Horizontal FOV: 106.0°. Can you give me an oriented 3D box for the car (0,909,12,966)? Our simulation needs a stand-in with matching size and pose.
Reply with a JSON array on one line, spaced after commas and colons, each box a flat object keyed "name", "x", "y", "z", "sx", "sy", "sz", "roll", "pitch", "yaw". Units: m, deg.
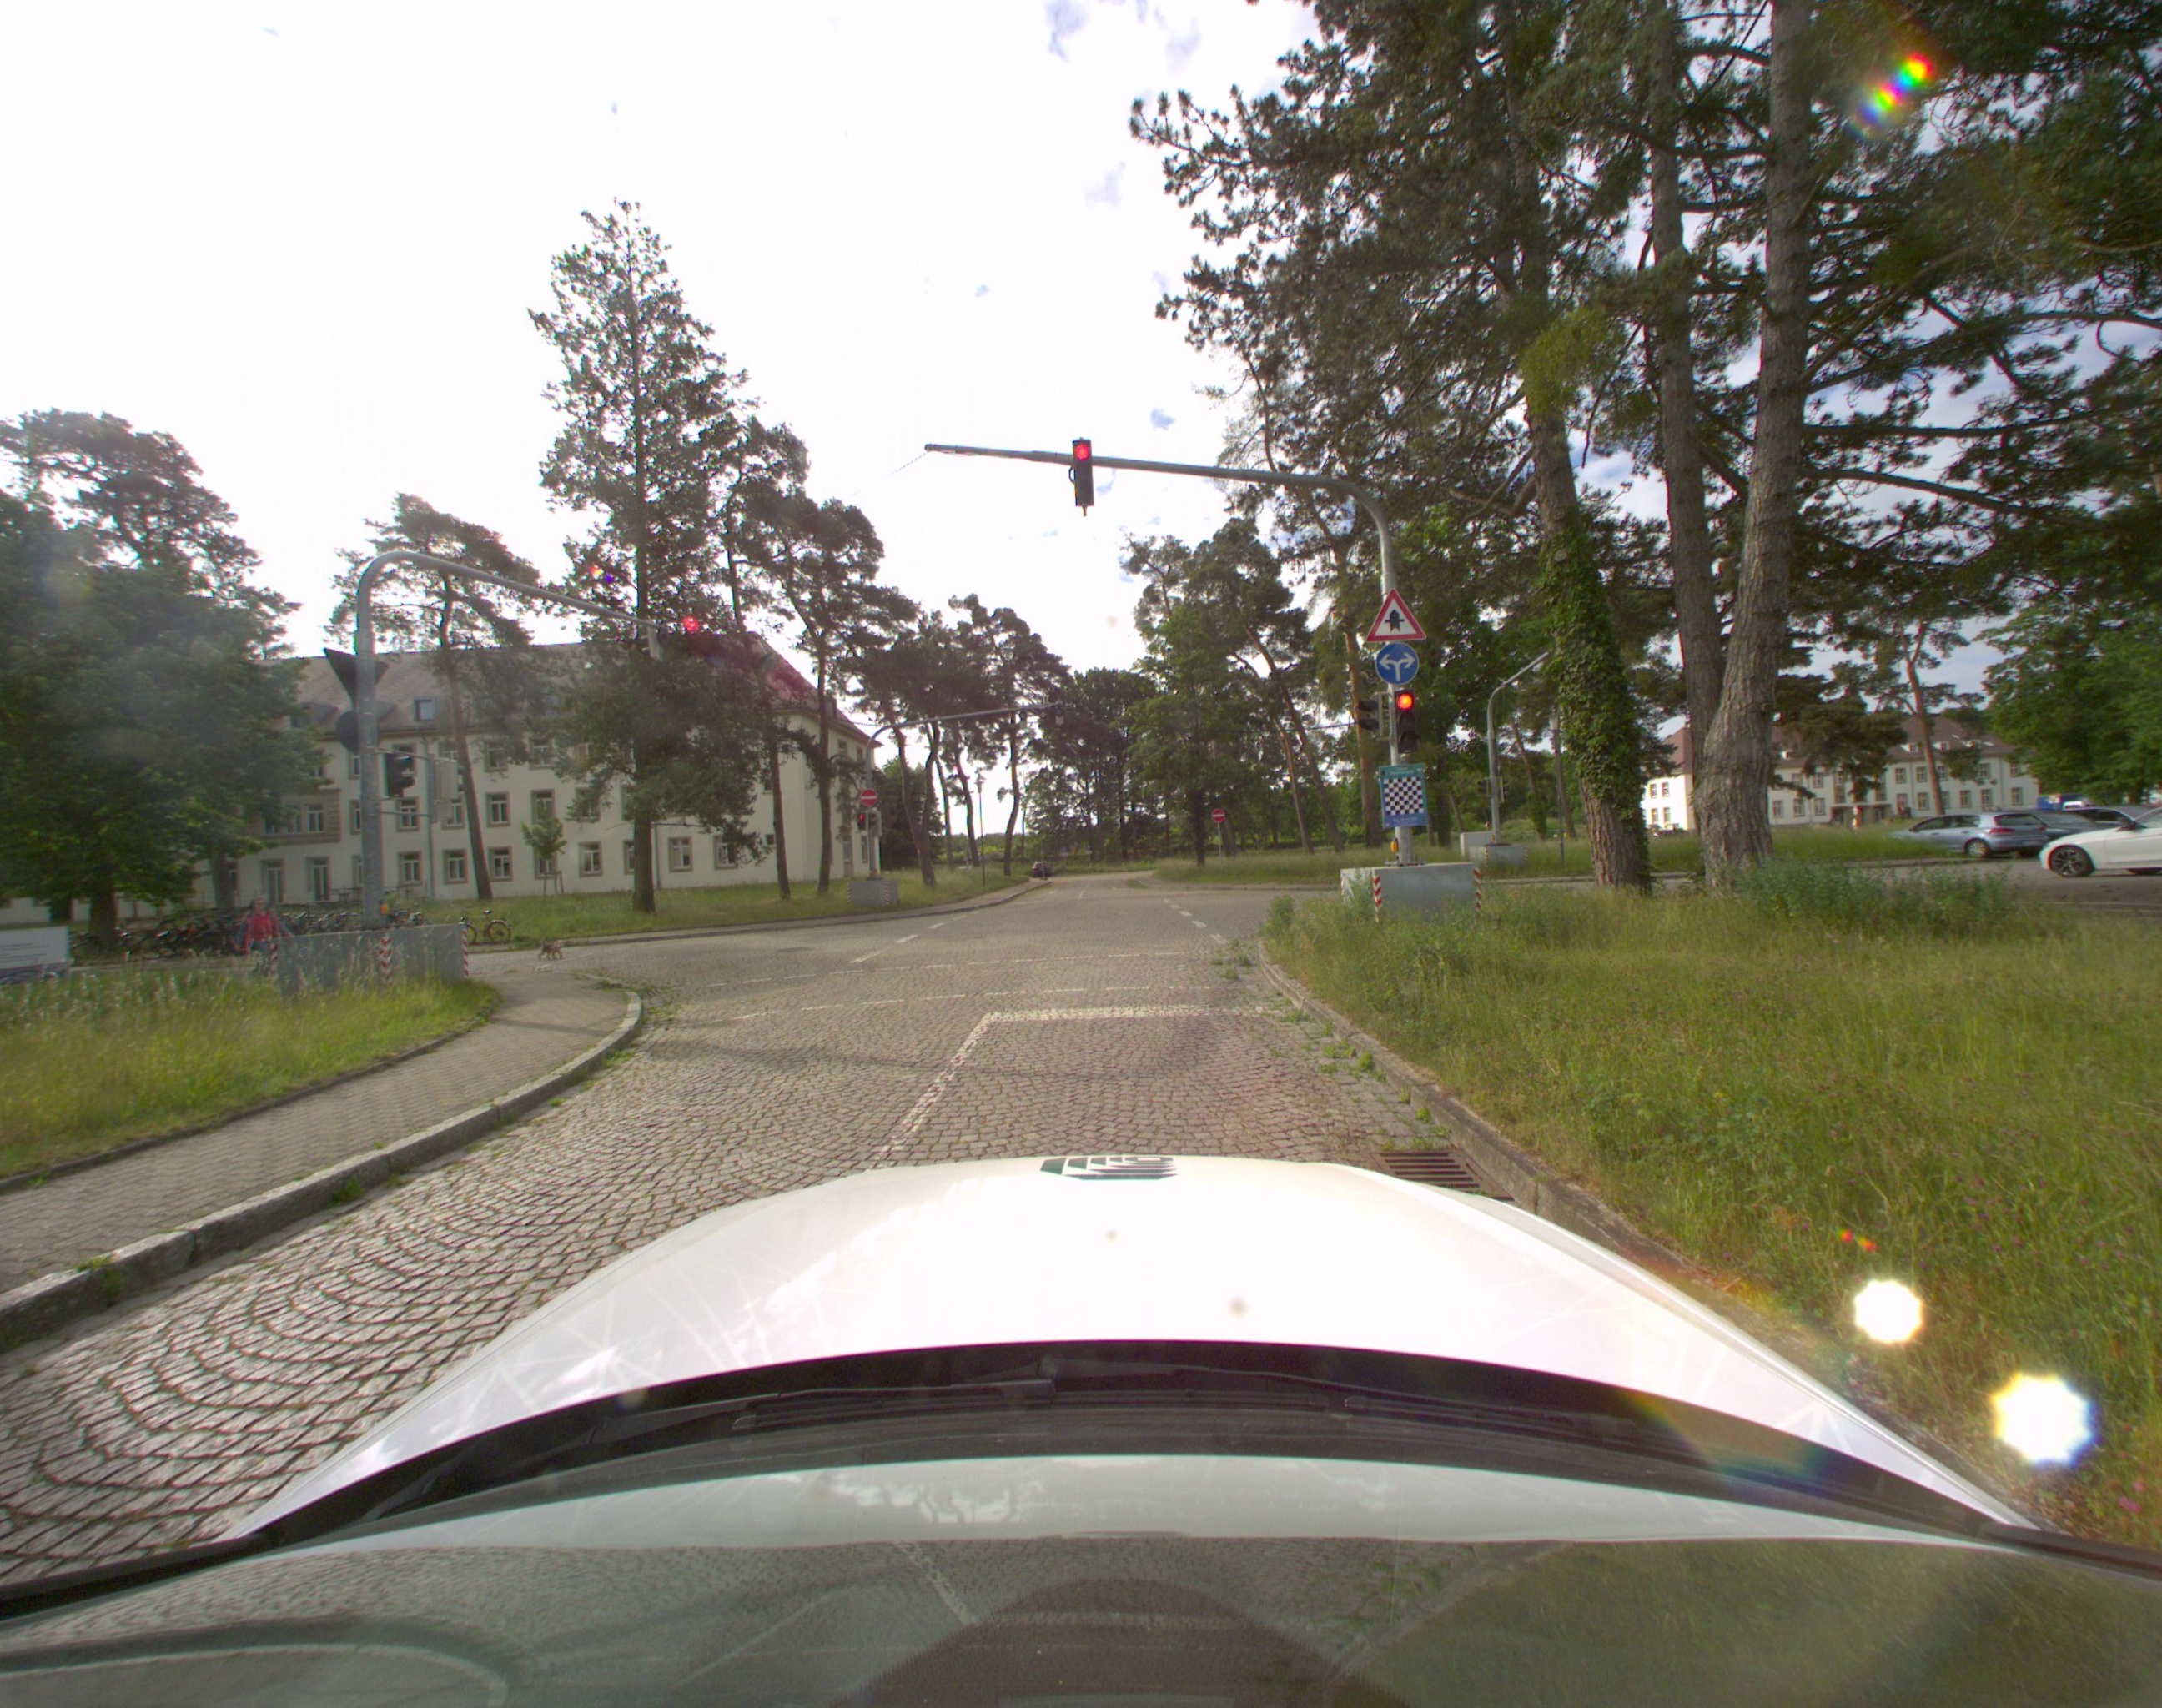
[{"name": "car", "x": -37.616, "y": 2.878, "z": 25.825, "sx": 1.832, "sy": 1.907, "sz": 4.138, "roll": -3, "pitch": 0, "yaw": 2}]

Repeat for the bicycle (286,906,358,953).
[{"name": "bicycle", "x": -21.959, "y": 2.156, "z": 23.594, "sx": 0.447, "sy": 1.178, "sz": 1.695, "roll": -3, "pitch": 0, "yaw": 0}]

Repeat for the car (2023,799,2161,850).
[{"name": "car", "x": 34.003, "y": -0.966, "z": 26.359, "sx": 1.748, "sy": 1.524, "sz": 4.444, "roll": -3, "pitch": 0, "yaw": -2}]

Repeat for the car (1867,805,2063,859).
[{"name": "car", "x": 28.939, "y": -0.655, "z": 26.911, "sx": 1.745, "sy": 1.524, "sz": 4.451, "roll": -3, "pitch": 0, "yaw": 3}]

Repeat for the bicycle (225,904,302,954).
[{"name": "bicycle", "x": -23.691, "y": 2.161, "z": 23.632, "sx": 0.447, "sy": 1.283, "sz": 1.695, "roll": -3, "pitch": 0, "yaw": 0}]

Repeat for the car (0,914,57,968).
[{"name": "car", "x": -34.256, "y": 2.769, "z": 24.493, "sx": 1.832, "sy": 1.556, "sz": 3.899, "roll": -3, "pitch": 0, "yaw": 2}]

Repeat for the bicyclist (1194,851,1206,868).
[{"name": "bicyclist", "x": 11.559, "y": 0.533, "z": 78.911, "sx": 0.972, "sy": 1.510, "sz": 0.807, "roll": -3, "pitch": 0, "yaw": -2}]

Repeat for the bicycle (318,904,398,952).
[{"name": "bicycle", "x": -20.960, "y": 2.124, "z": 23.662, "sx": 0.526, "sy": 1.178, "sz": 1.930, "roll": -3, "pitch": 0, "yaw": 0}]

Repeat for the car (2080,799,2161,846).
[{"name": "car", "x": 36.667, "y": -1.113, "z": 26.916, "sx": 1.748, "sy": 1.524, "sz": 4.444, "roll": -3, "pitch": 0, "yaw": -2}]

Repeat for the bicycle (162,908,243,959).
[{"name": "bicycle", "x": -25.403, "y": 2.269, "z": 23.586, "sx": 0.447, "sy": 1.283, "sz": 1.695, "roll": -3, "pitch": 0, "yaw": 0}]

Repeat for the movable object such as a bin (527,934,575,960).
[{"name": "movable object such as a bin", "x": -11.312, "y": 1.986, "z": 17.394, "sx": 0.744, "sy": 0.503, "sz": 0.446, "roll": -2, "pitch": 0, "yaw": 14}]

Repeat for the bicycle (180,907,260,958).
[{"name": "bicycle", "x": -24.917, "y": 2.253, "z": 23.593, "sx": 0.447, "sy": 1.283, "sz": 1.695, "roll": -3, "pitch": 0, "yaw": 0}]

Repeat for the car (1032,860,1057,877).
[{"name": "car", "x": -3.544, "y": 1.411, "z": 79.334, "sx": 1.985, "sy": 1.508, "sz": 4.003, "roll": -1, "pitch": 0, "yaw": 3}]

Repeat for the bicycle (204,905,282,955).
[{"name": "bicycle", "x": -24.254, "y": 2.179, "z": 23.614, "sx": 0.447, "sy": 1.283, "sz": 1.695, "roll": -3, "pitch": 0, "yaw": 0}]

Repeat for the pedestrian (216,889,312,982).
[{"name": "pedestrian", "x": -15.904, "y": 1.567, "z": 15.869, "sx": 0.853, "sy": 1.668, "sz": 0.943, "roll": -3, "pitch": 0, "yaw": 12}]

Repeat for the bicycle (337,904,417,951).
[{"name": "bicycle", "x": -20.377, "y": 2.105, "z": 23.629, "sx": 0.573, "sy": 1.178, "sz": 1.954, "roll": -3, "pitch": 0, "yaw": 0}]

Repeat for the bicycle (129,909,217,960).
[{"name": "bicycle", "x": -26.335, "y": 2.301, "z": 23.660, "sx": 0.447, "sy": 1.283, "sz": 1.827, "roll": -3, "pitch": 0, "yaw": 0}]

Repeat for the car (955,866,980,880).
[{"name": "car", "x": -11.249, "y": 1.884, "z": 80.689, "sx": 1.682, "sy": 1.156, "sz": 4.003, "roll": -3, "pitch": 0, "yaw": 3}]

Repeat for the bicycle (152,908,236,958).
[{"name": "bicycle", "x": -25.868, "y": 2.287, "z": 23.789, "sx": 0.441, "sy": 1.283, "sz": 1.785, "roll": -3, "pitch": 0, "yaw": 0}]

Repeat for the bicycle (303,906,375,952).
[{"name": "bicycle", "x": -21.472, "y": 2.153, "z": 23.609, "sx": 0.447, "sy": 1.178, "sz": 1.695, "roll": -3, "pitch": 0, "yaw": 0}]

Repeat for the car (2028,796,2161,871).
[{"name": "car", "x": 21.398, "y": -0.435, "z": 15.374, "sx": 1.748, "sy": 1.415, "sz": 4.444, "roll": -3, "pitch": -1, "yaw": -2}]

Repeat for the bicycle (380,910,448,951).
[{"name": "bicycle", "x": -18.180, "y": 2.084, "z": 22.220, "sx": 1.453, "sy": 0.996, "sz": 0.452, "roll": -3, "pitch": -1, "yaw": 2}]

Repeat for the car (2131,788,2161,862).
[{"name": "car", "x": 23.973, "y": -0.678, "z": 15.610, "sx": 1.861, "sy": 1.577, "sz": 4.444, "roll": -3, "pitch": 0, "yaw": -2}]

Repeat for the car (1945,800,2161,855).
[{"name": "car", "x": 31.357, "y": -0.782, "z": 26.438, "sx": 1.748, "sy": 1.524, "sz": 4.443, "roll": -3, "pitch": 0, "yaw": -2}]

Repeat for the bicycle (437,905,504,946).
[{"name": "bicycle", "x": -16.659, "y": 1.942, "z": 22.228, "sx": 1.453, "sy": 0.996, "sz": 0.452, "roll": -3, "pitch": -1, "yaw": 2}]

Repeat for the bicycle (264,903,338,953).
[{"name": "bicycle", "x": -22.671, "y": 2.128, "z": 23.707, "sx": 0.447, "sy": 1.283, "sz": 1.695, "roll": -3, "pitch": 0, "yaw": 0}]

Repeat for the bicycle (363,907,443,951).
[{"name": "bicycle", "x": -19.679, "y": 2.148, "z": 23.698, "sx": 0.573, "sy": 1.078, "sz": 1.996, "roll": -3, "pitch": 0, "yaw": 0}]

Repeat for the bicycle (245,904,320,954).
[{"name": "bicycle", "x": -23.176, "y": 2.144, "z": 23.671, "sx": 0.447, "sy": 1.283, "sz": 1.695, "roll": -3, "pitch": 0, "yaw": 0}]
